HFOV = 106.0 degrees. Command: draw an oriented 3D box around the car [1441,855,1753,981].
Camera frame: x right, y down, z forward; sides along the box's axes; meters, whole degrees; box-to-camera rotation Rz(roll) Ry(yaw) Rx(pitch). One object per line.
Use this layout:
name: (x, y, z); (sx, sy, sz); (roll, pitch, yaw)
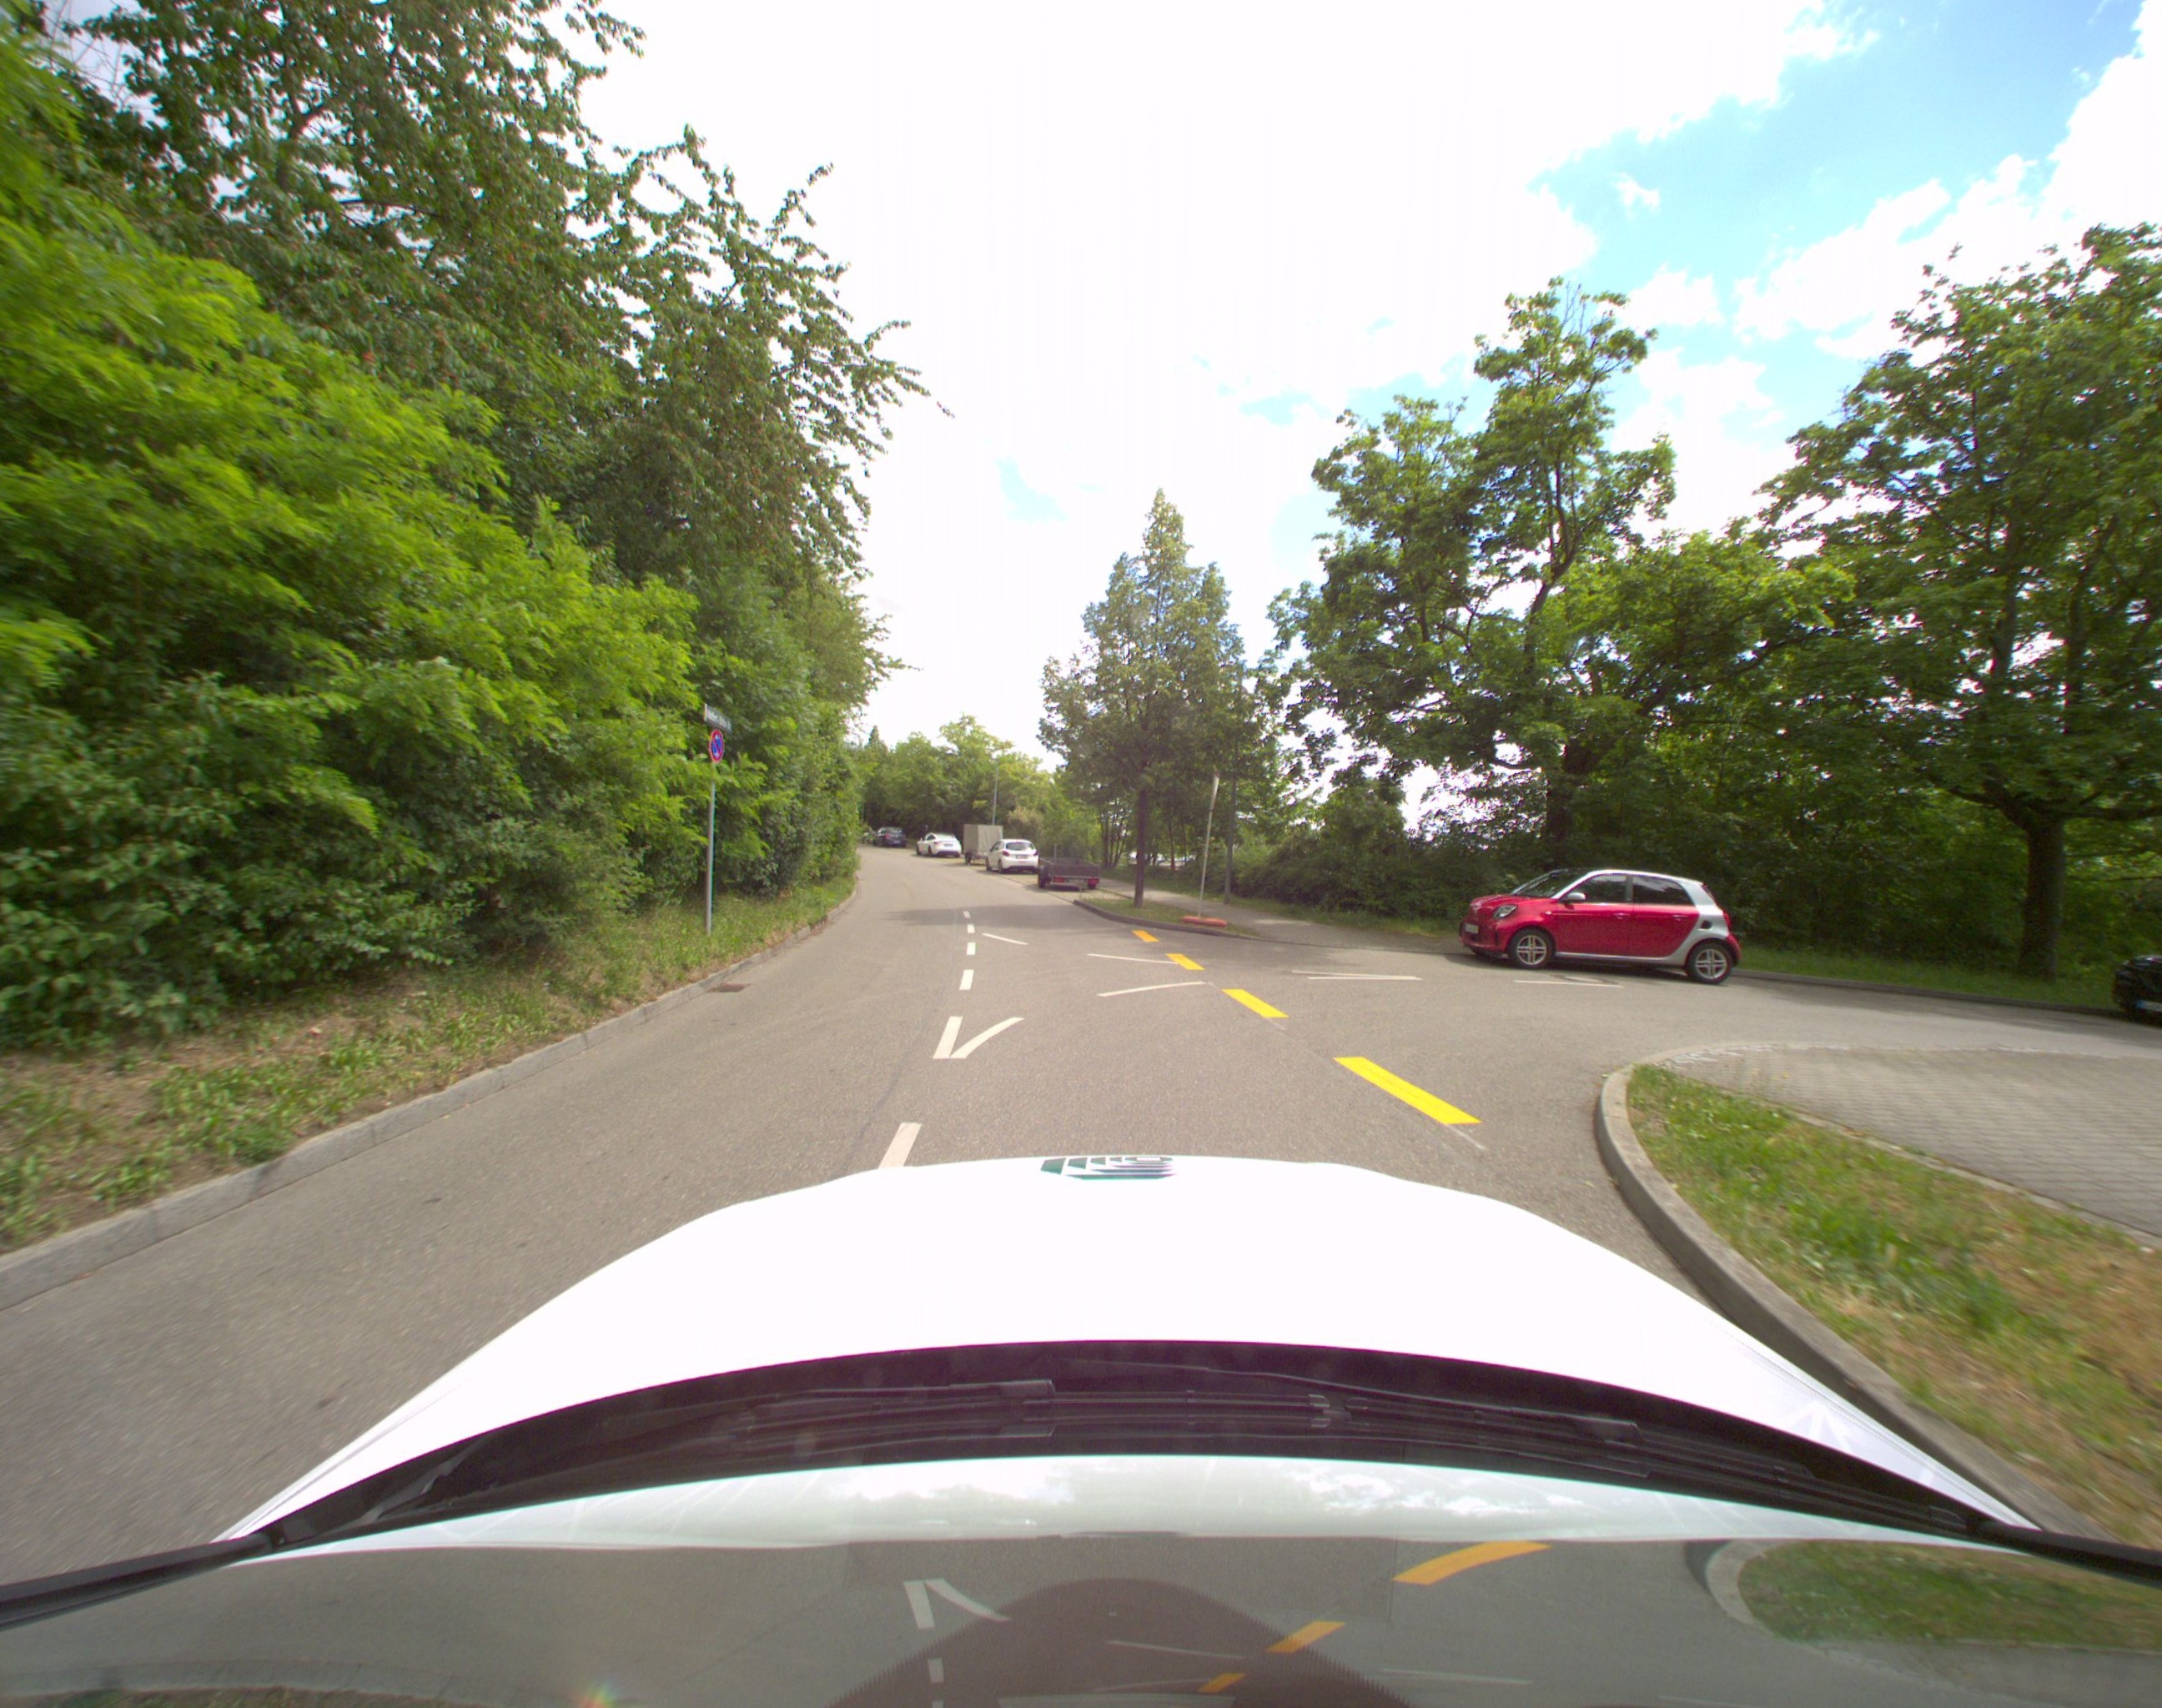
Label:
car: (7.633, 0.887, 12.362); (3.518, 1.480, 1.785); (4, 1, 6)

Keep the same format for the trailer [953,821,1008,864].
trailer: (-5.252, -0.630, 42.221); (1.748, 2.110, 3.970); (0, 2, -23)

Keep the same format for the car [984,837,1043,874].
car: (-3.057, 0.019, 36.128); (1.773, 1.411, 3.977); (1, 3, -18)

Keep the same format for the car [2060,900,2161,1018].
car: (17.257, 1.761, 11.595); (3.971, 1.595, 2.002); (7, 1, 3)

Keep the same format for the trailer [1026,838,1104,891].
trailer: (-0.607, 0.298, 27.186); (1.786, 1.525, 3.983); (1, 2, -13)

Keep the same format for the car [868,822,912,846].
car: (-14.166, -1.510, 60.182); (1.899, 1.686, 4.310); (-2, 3, -31)

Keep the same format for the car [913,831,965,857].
car: (-8.712, -0.653, 49.695); (1.896, 1.376, 4.314); (1, 2, -27)

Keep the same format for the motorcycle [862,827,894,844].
motorcycle: (-15.805, -1.453, 63.429); (2.155, 1.265, 1.072); (2, 4, 8)
